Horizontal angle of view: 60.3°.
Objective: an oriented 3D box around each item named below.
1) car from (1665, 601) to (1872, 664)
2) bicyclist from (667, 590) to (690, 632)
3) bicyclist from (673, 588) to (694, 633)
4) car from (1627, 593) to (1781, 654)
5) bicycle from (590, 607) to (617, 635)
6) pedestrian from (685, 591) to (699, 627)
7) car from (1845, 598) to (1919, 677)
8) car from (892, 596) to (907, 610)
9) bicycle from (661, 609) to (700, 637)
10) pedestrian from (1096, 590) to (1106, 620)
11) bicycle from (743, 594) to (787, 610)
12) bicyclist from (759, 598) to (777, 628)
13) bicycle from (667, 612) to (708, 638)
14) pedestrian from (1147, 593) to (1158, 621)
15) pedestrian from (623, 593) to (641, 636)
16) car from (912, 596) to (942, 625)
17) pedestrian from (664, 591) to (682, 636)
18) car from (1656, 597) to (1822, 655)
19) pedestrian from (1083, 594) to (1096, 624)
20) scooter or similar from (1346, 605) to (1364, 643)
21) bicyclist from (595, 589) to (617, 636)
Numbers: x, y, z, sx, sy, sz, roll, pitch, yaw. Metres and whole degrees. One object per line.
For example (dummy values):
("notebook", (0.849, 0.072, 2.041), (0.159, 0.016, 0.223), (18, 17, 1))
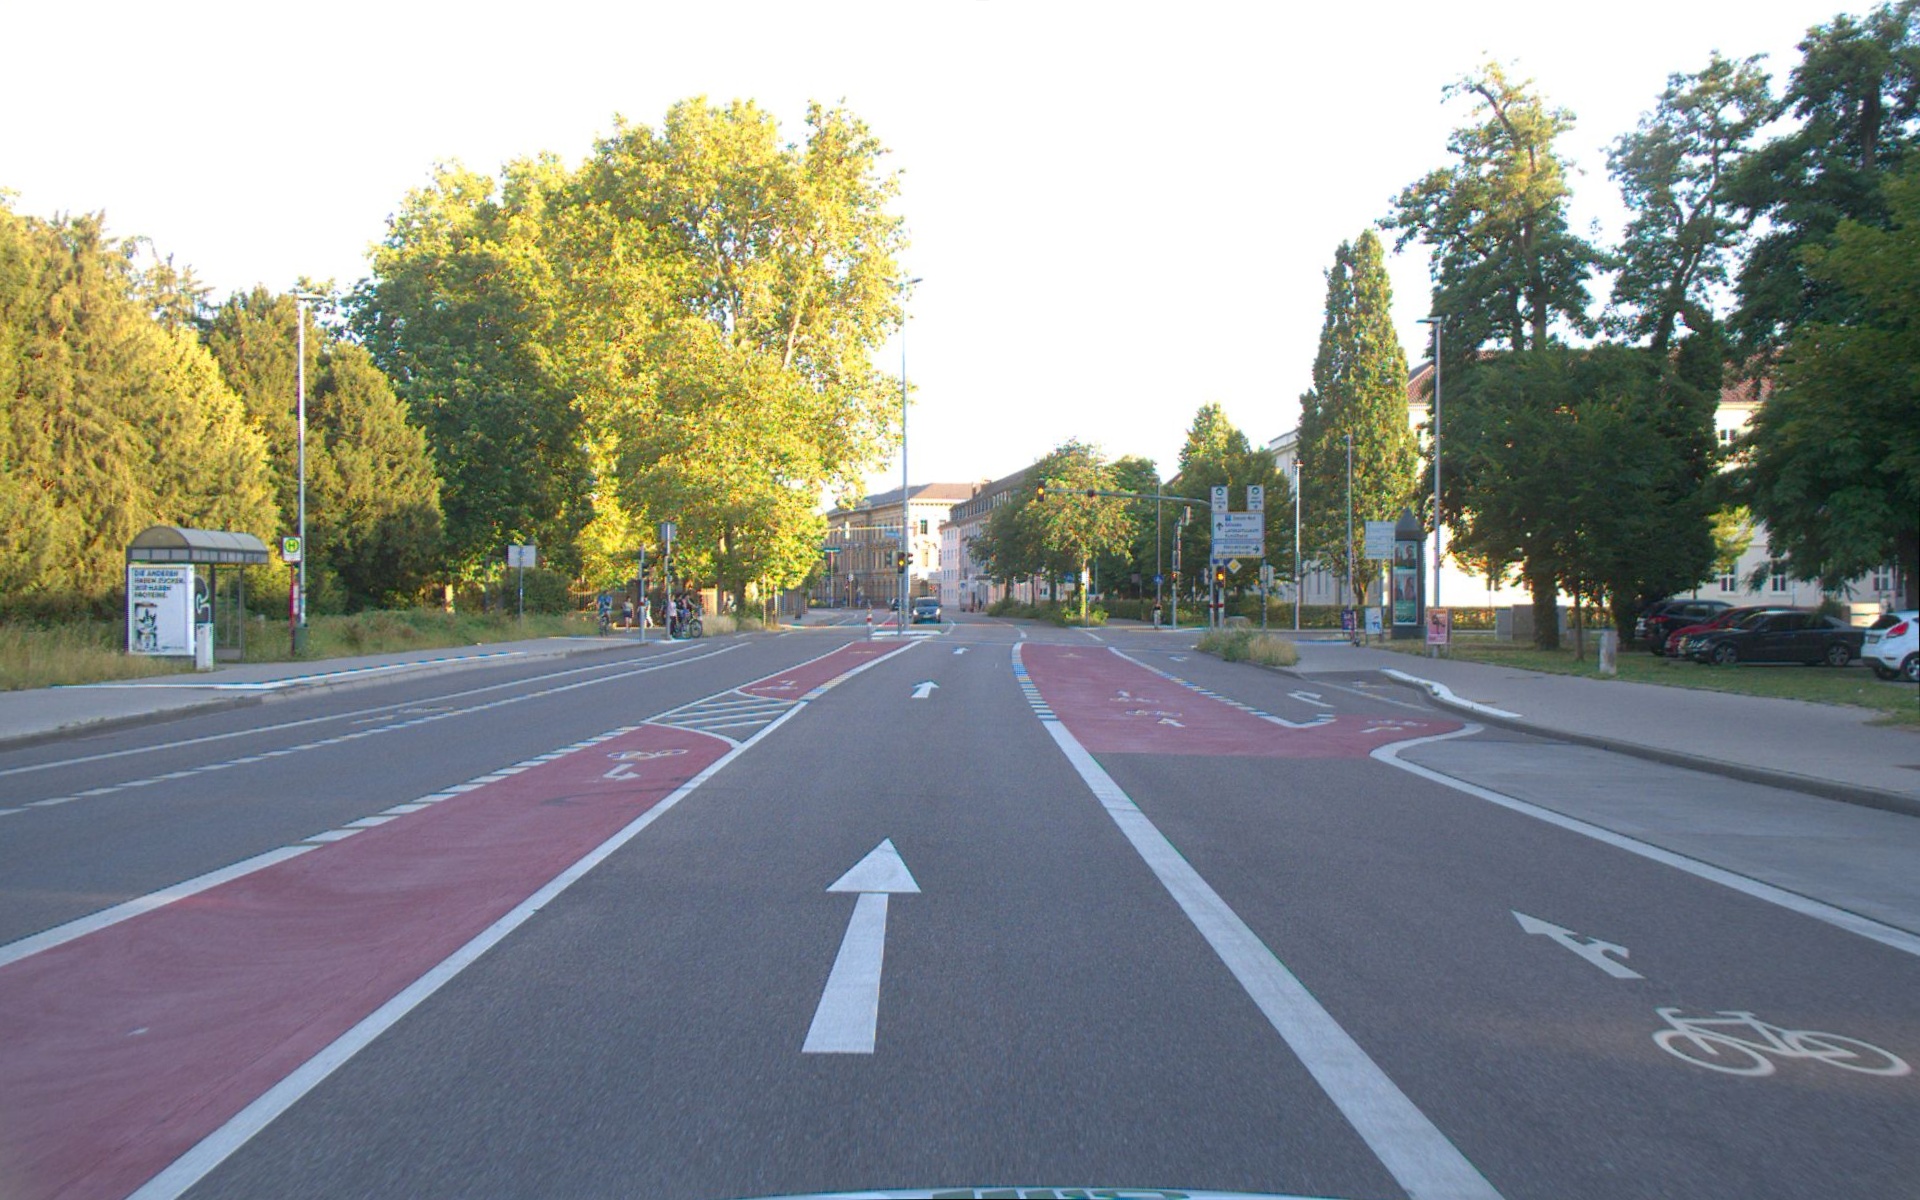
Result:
("car", (21.217, 0.862, 43.538), (4.473, 1.474, 1.901), (-2, -2, 4))
("bicyclist", (-11.239, 0.432, 66.034), (0.626, 1.678, 0.629), (0, 0, 32))
("bicyclist", (-11.305, 0.430, 67.661), (0.626, 1.811, 0.574), (0, 0, 32))
("car", (22.326, 0.690, 49.736), (3.815, 1.724, 1.838), (1, 0, 6))
("bicycle", (-14.432, 0.851, 66.941), (0.755, 1.120, 2.121), (0, 0, -4))
("pedestrian", (-15.248, 0.527, 94.044), (0.626, 2.049, 0.701), (0, 0, 4))
("car", (20.727, 0.787, 34.113), (3.903, 1.564, 1.913), (1, 0, 5))
("car", (-7.405, 0.328, 201.711), (1.782, 1.616, 3.999), (-1, 0, -1))
("bicycle", (-11.143, 0.908, 65.967), (1.535, 1.131, 0.631), (0, 0, 33))
("pedestrian", (9.809, 0.343, 114.810), (0.622, 2.049, 0.720), (1, 0, 2))
("bicycle", (-11.114, 0.113, 94.296), (2.379, 0.940, 0.775), (0, 0, 2))
("bicyclist", (-10.953, 0.736, 94.292), (0.938, 1.659, 0.753), (0, 0, 2))
("bicycle", (-11.137, 1.027, 67.544), (1.735, 1.048, 0.578), (0, 0, 33))
("pedestrian", (11.524, 0.392, 99.171), (0.587, 1.664, 0.692), (1, 0, 4))
("pedestrian", (-15.868, 0.701, 79.955), (0.644, 2.049, 0.598), (1, 0, -37))
("car", (-2.130, 0.634, 105.185), (1.812, 1.750, 4.294), (-2, 0, -2))
("pedestrian", (-11.076, 0.515, 63.799), (0.594, 1.725, 0.498), (0, 0, 3))
("car", (21.967, 0.726, 46.745), (3.902, 1.588, 1.787), (0, 0, 8))
("pedestrian", (8.969, 0.648, 114.585), (0.852, 2.049, 0.722), (1, 0, 2))
("scooter or similar", (13.247, 0.805, 55.473), (0.304, 1.252, 1.311), (0, 0, 2))
("bicyclist", (-14.276, 0.506, 66.792), (0.720, 1.856, 0.712), (0, -1, 0))
